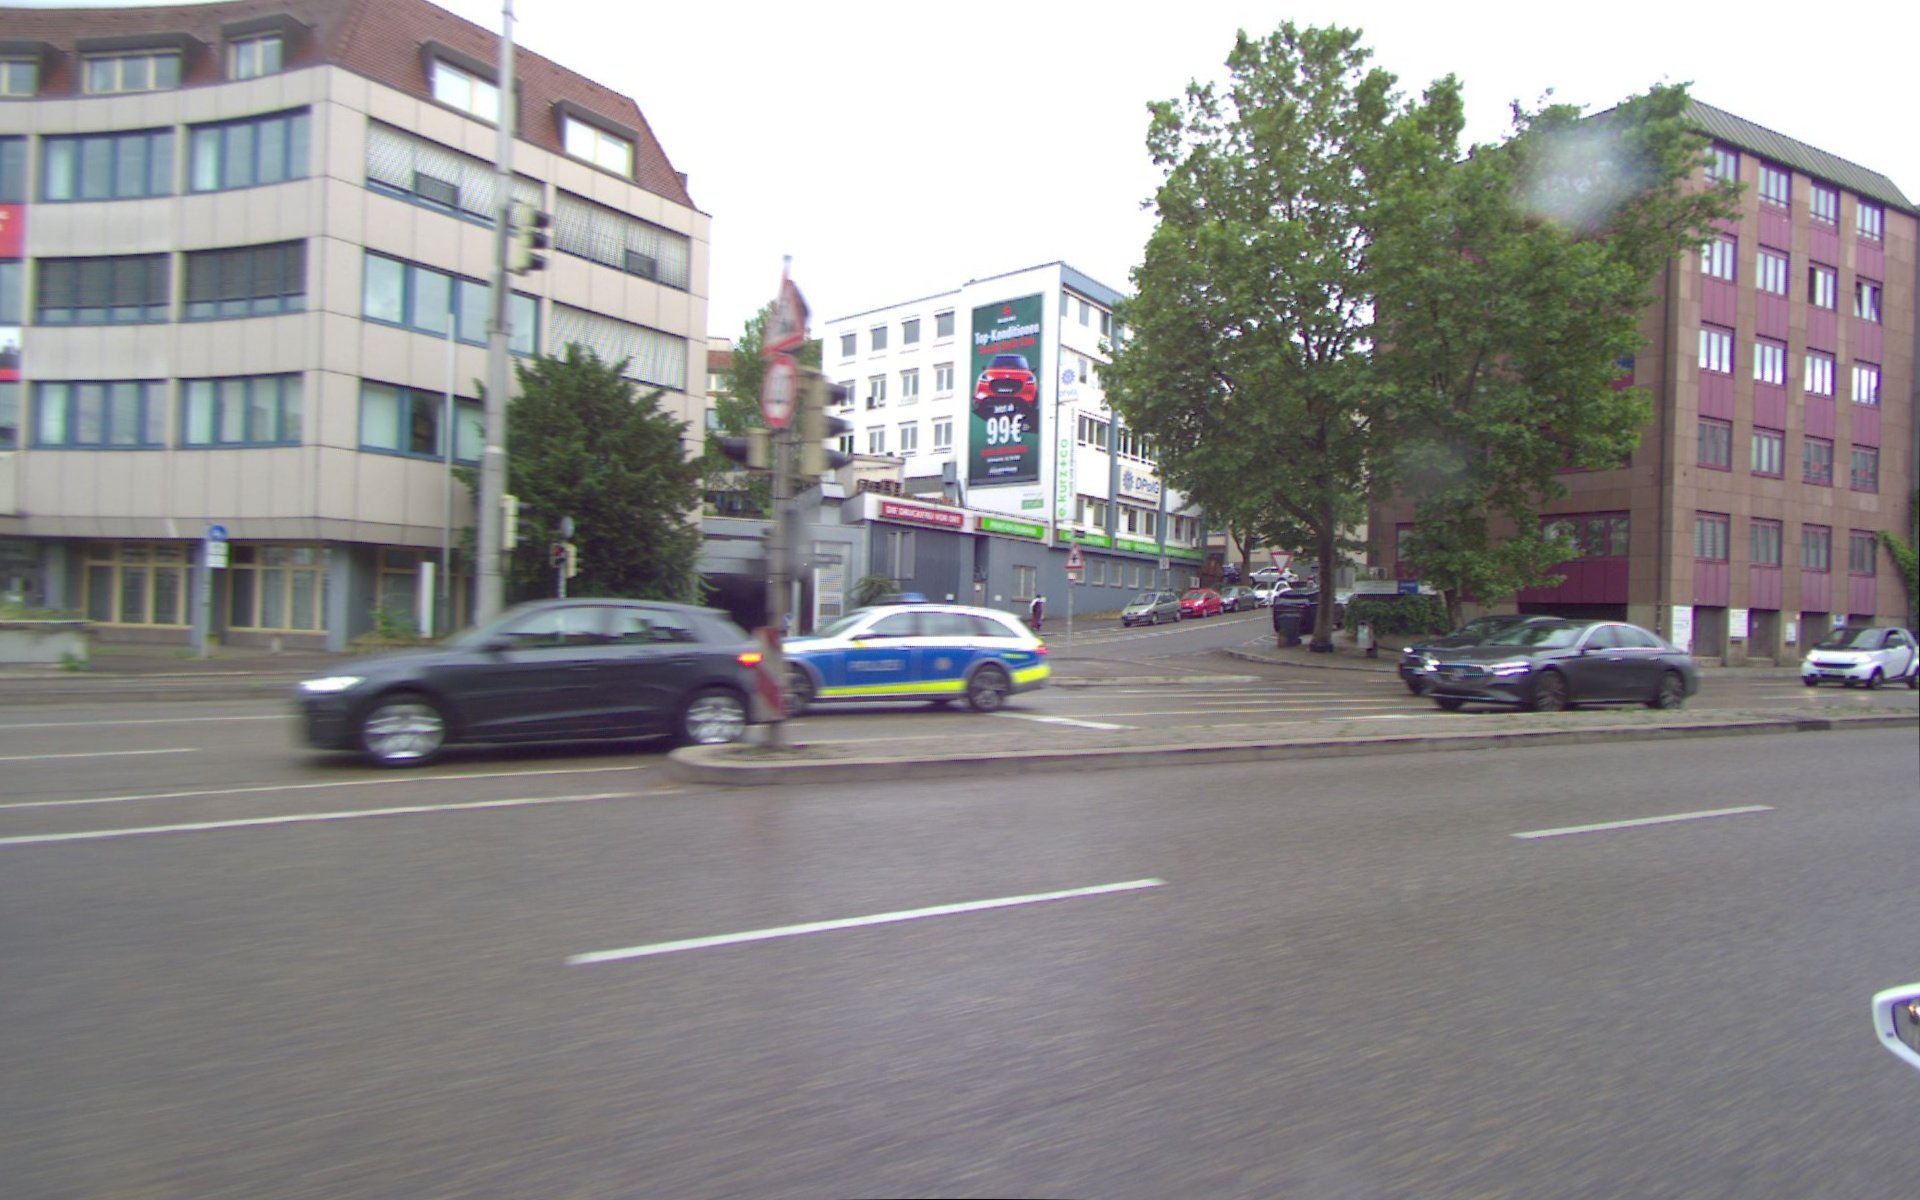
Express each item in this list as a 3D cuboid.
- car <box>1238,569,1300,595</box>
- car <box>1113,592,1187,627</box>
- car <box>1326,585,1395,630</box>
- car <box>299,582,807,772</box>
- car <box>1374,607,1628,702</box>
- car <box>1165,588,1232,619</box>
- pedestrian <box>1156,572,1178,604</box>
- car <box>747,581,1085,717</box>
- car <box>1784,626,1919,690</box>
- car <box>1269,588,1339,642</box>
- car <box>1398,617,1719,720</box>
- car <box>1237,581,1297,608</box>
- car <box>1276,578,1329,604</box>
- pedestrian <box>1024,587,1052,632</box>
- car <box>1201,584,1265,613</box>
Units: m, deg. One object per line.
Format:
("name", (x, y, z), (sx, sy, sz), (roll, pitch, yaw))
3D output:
("car", (25.008, -1.443, 81.389), (4.358, 2.033, 1.994), (0, -2, 36))
("car", (9.480, 0.452, 49.954), (1.811, 1.483, 4.156), (-1, 3, 40))
("car", (18.992, 0.298, 47.515), (1.908, 1.893, 3.980), (0, 3, 40))
("car", (-3.643, 0.652, 9.353), (4.034, 1.435, 1.758), (2, -2, -30))
("car", (10.775, 1.058, 19.963), (4.871, 1.699, 1.987), (1, -2, -26))
("car", (12.863, 0.165, 54.031), (1.812, 1.450, 4.047), (0, 3, 42))
("pedestrian", (11.748, -0.677, 56.911), (0.829, 1.740, 0.977), (0, -1, 39))
("car", (-0.604, 0.696, 14.427), (4.529, 1.704, 1.761), (2, -1, -25))
("car", (22.450, 1.450, 25.225), (2.906, 1.504, 1.553), (2, -2, -22))
("car", (15.005, 0.580, 43.677), (1.904, 1.894, 3.987), (2, 6, 34))
("car", (9.650, 1.051, 16.193), (4.867, 1.457, 1.989), (1, -2, -23))
("car", (18.762, -0.336, 61.317), (1.814, 1.450, 4.044), (0, 3, 44))
("car", (22.154, -0.592, 64.897), (1.812, 1.450, 4.047), (0, 2, 42))
("pedestrian", (3.586, 0.438, 46.242), (0.829, 2.040, 0.977), (0, -1, 39))
("car", (15.694, -0.105, 57.654), (1.814, 1.450, 4.044), (0, 3, 44))
